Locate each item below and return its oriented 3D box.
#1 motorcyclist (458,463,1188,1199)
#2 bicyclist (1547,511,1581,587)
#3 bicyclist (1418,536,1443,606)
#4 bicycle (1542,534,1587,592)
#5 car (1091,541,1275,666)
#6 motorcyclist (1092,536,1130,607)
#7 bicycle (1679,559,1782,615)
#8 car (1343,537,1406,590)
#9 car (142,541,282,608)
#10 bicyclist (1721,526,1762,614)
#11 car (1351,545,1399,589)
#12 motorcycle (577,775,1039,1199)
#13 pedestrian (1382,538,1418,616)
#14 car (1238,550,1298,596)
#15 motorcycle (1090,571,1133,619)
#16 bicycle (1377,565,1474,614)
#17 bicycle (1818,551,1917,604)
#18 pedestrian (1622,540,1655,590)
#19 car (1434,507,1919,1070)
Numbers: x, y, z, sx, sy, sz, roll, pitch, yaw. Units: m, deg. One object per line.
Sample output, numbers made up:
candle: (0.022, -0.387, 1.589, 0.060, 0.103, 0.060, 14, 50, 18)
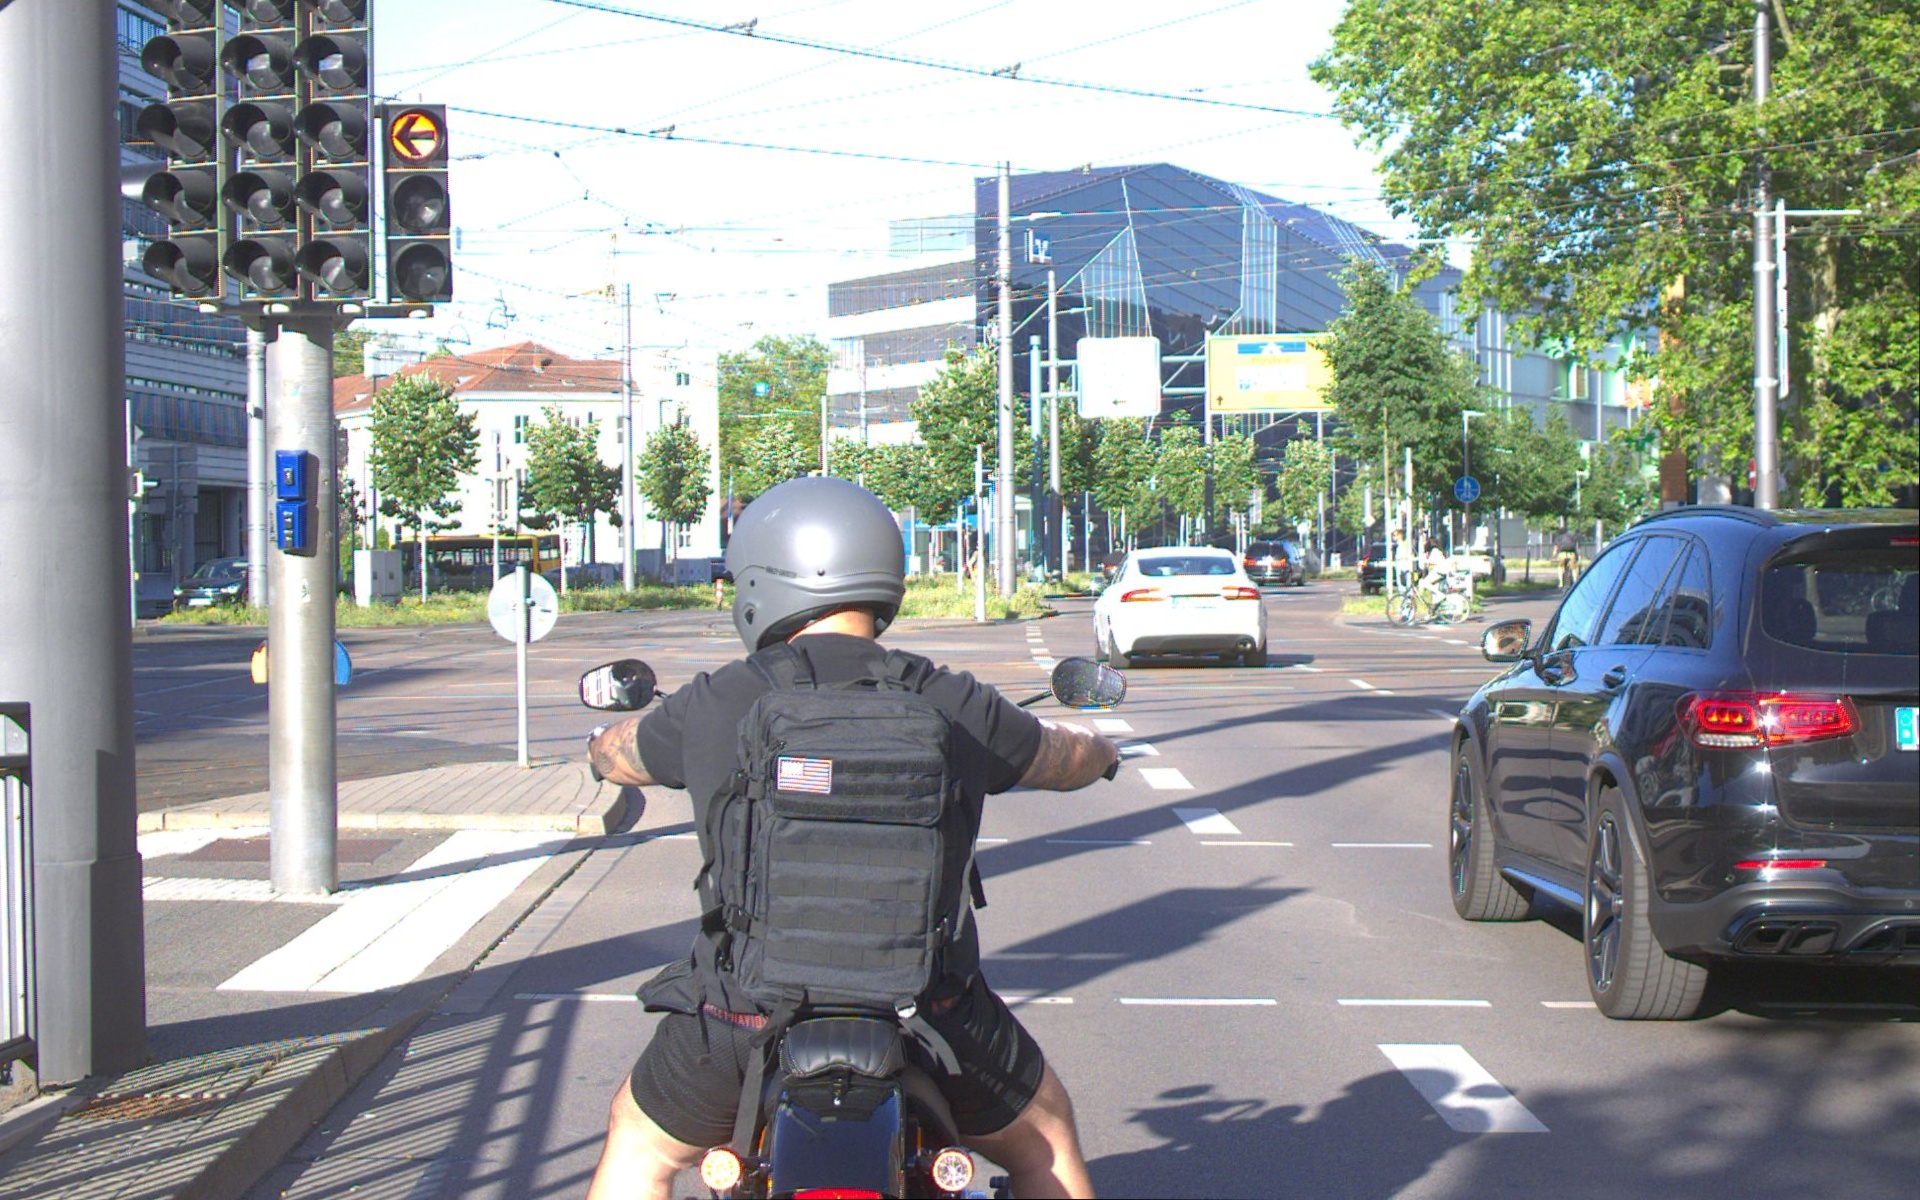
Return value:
motorcyclist: (-0.197, 0.594, 5.329, 1.030, 1.588, 0.873, 0, 1, -1)
bicyclist: (14.602, -1.229, 83.122, 0.697, 1.802, 0.728, 1, 0, 4)
bicyclist: (9.178, -0.569, 67.076, 0.380, 1.368, 0.345, 1, 0, -9)
bicycle: (14.628, -0.888, 83.308, 0.726, 1.362, 2.917, 1, 0, 3)
car: (2.647, -0.002, 41.722, 1.803, 1.425, 4.453, 0, 1, -2)
motorcyclist: (3.379, -0.628, 76.869, 0.796, 1.574, 0.529, 1, 0, 6)
bicycle: (14.617, -0.249, 65.223, 1.872, 1.040, 0.536, 0, 0, 19)
car: (14.295, -1.263, 118.361, 1.732, 1.726, 4.609, 1, 2, 12)
car: (-17.601, -0.589, 81.030, 1.750, 1.519, 3.998, 1, 0, 11)
bicyclist: (14.815, -0.565, 65.163, 0.688, 1.667, 0.540, 0, 0, 19)
car: (18.052, -1.426, 149.467, 1.730, 1.831, 3.573, 1, 0, 12)
motorcycle: (-0.217, 0.886, 5.620, 0.600, 1.032, 2.234, 1, 1, -1)
pedestrian: (8.802, -0.461, 68.787, 0.587, 1.551, 0.489, 1, 0, -8)
car: (11.664, -1.024, 129.848, 1.804, 1.672, 4.039, 1, 0, 11)
motorcycle: (3.408, -0.106, 77.093, 0.804, 1.047, 2.375, 1, 0, 6)
bicycle: (9.078, -0.211, 67.069, 1.825, 0.922, 0.358, 1, 0, -8)
bicycle: (18.342, -0.458, 69.496, 1.880, 1.043, 0.360, 1, 1, -1)
pedestrian: (17.889, -0.913, 90.626, 0.819, 1.309, 0.637, 1, 0, 9)
car: (2.912, 0.514, 12.031, 1.803, 1.590, 4.453, 2, 1, -1)
